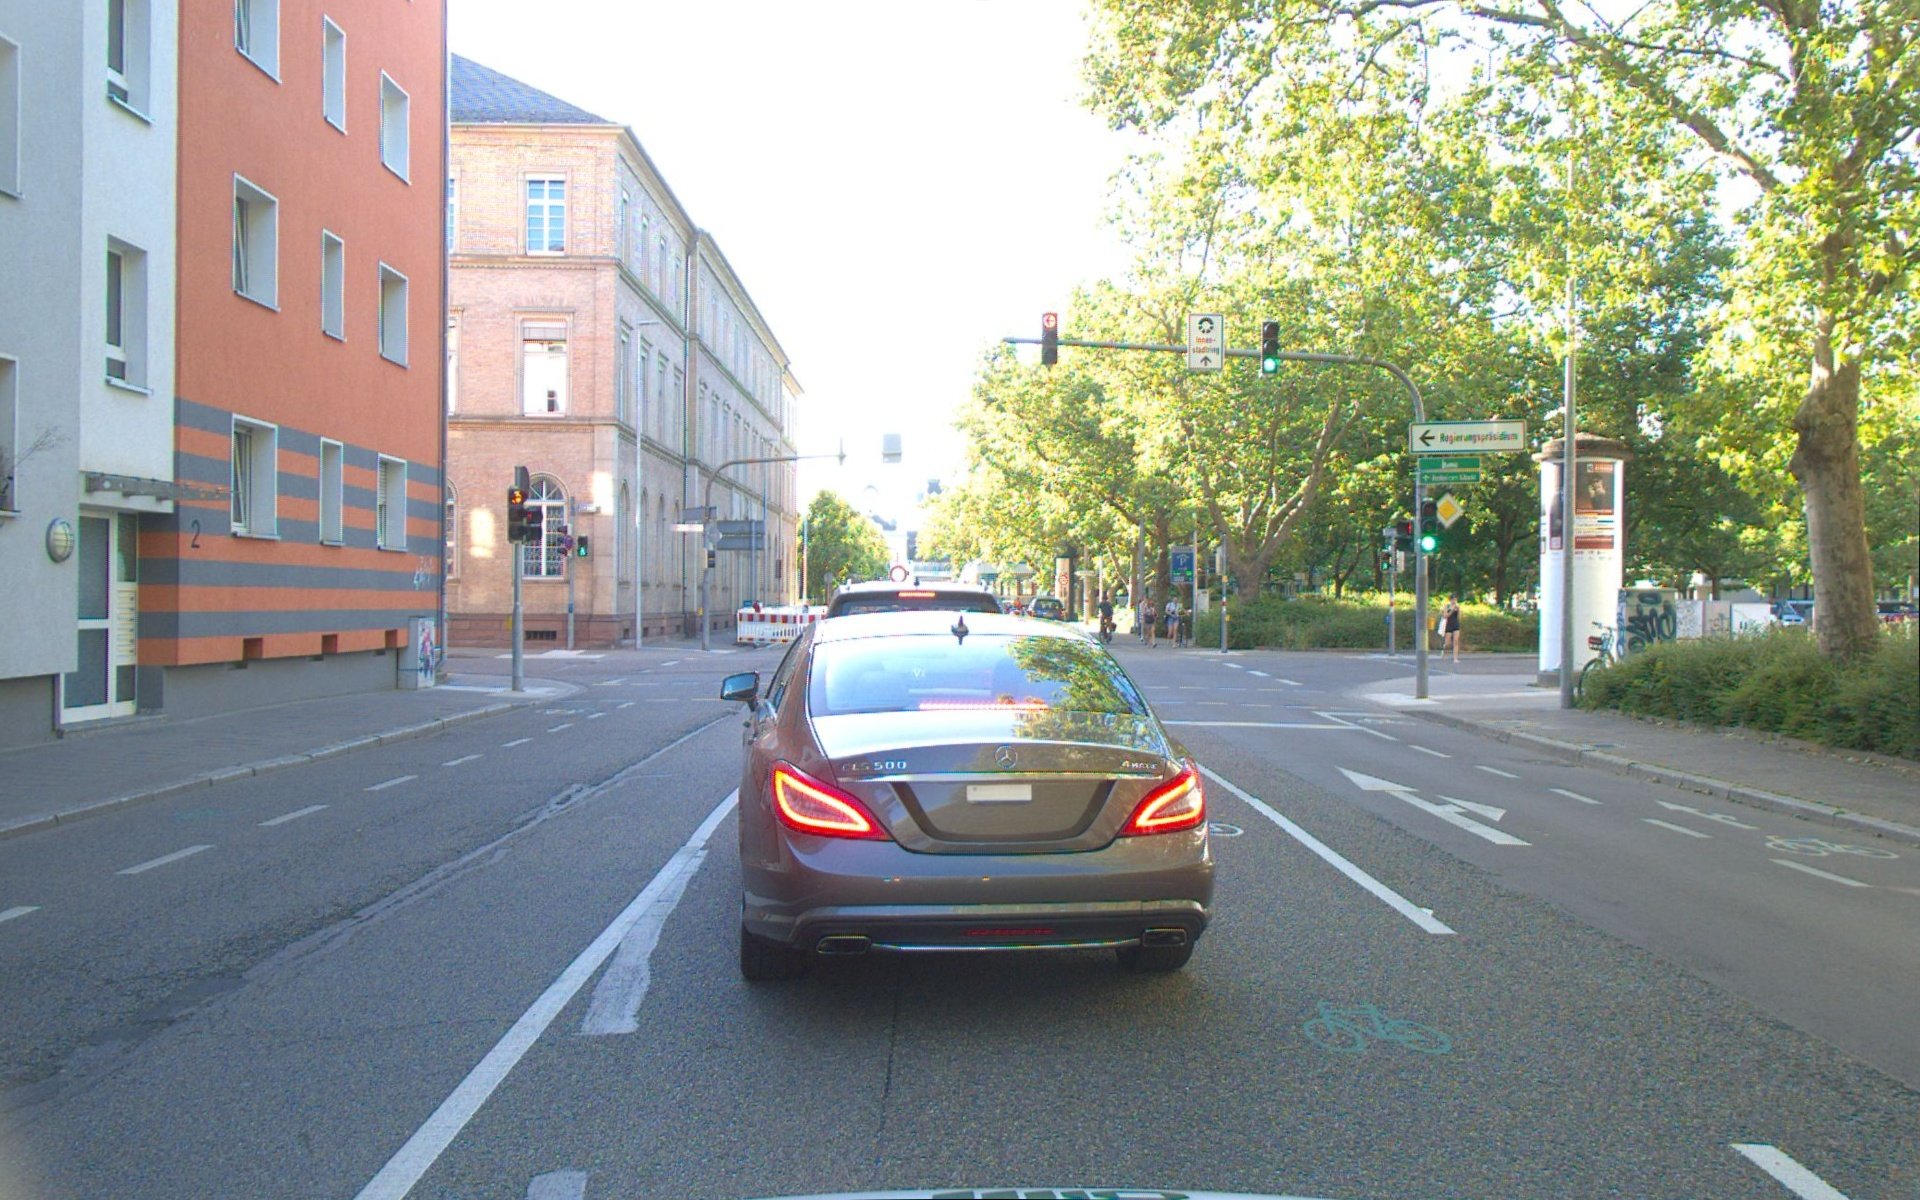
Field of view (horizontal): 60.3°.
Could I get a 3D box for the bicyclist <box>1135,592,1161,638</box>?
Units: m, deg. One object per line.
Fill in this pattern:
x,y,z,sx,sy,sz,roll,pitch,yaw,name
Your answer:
6.797,0.531,59.884,0.808,1.646,0.957,1,0,-1,bicyclist

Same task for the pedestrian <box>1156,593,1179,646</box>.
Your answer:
7.032,0.657,56.135,0.623,1.791,0.698,1,-1,-5,pedestrian

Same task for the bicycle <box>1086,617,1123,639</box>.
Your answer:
5.421,1.056,61.986,0.709,0.805,1.925,1,0,27,bicycle

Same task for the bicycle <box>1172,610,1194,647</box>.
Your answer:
7.559,0.951,56.048,0.472,1.223,1.606,1,0,-1,bicycle

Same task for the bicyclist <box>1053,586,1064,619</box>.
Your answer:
6.242,0.145,105.059,0.583,2.075,0.565,1,-1,-5,bicyclist

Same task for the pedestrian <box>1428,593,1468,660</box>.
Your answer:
11.752,0.633,39.843,0.623,1.572,0.910,1,0,-3,pedestrian

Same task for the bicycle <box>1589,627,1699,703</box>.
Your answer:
9.869,0.925,23.835,1.868,1.046,0.633,1,-1,-39,bicycle

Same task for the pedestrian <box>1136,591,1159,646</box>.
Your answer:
6.385,0.625,56.282,0.623,1.828,0.698,1,-1,-5,pedestrian

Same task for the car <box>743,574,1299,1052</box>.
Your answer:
-0.035,0.689,7.462,1.826,1.545,3.993,1,0,-8,car

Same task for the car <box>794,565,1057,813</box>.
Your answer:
-0.271,0.619,13.590,1.823,1.712,3.999,1,0,-1,car

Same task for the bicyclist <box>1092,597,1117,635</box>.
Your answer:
5.427,0.605,61.969,0.719,1.422,0.697,1,-1,28,bicyclist

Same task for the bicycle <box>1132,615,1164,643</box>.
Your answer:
6.791,1.043,59.982,0.811,0.940,2.616,1,0,-1,bicycle
